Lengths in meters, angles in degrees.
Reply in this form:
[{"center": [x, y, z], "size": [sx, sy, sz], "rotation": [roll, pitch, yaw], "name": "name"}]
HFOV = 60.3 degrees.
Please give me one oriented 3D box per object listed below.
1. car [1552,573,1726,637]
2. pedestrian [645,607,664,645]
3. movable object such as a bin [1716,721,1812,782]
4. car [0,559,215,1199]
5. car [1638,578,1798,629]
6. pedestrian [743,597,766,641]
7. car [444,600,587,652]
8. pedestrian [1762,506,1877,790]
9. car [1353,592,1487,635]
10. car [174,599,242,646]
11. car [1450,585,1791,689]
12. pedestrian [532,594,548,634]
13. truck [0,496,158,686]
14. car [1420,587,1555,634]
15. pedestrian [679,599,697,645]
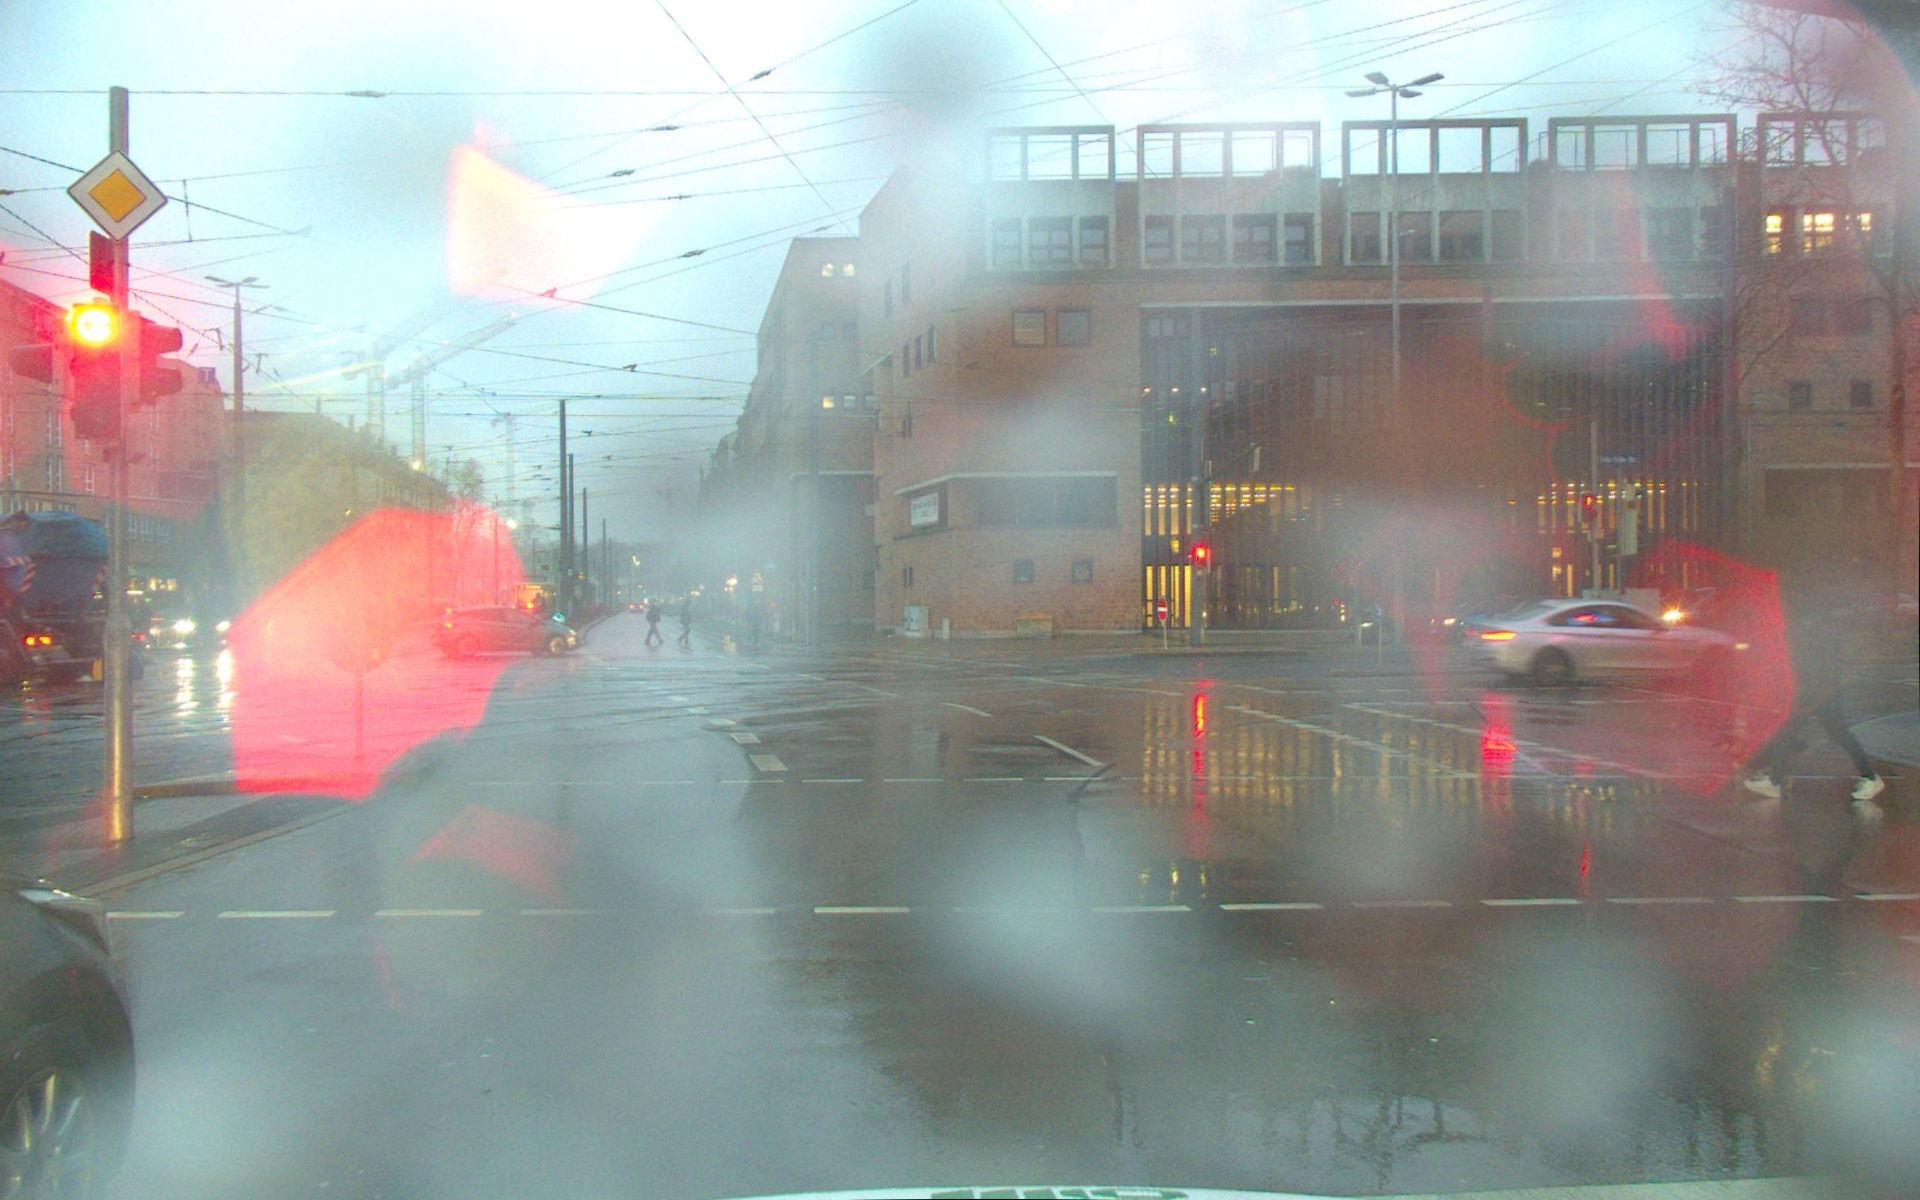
[{"center": [18.230, 0.104, 44.507], "size": [3.910, 1.530, 1.846], "rotation": [-1, 4, -7], "name": "car"}, {"center": [-12.188, 1.033, 65.979], "size": [0.687, 1.510, 0.574], "rotation": [-1, 0, -11], "name": "pedestrian"}, {"center": [6.718, 1.264, 13.829], "size": [0.664, 0.477, 0.312], "rotation": [0, -1, -7], "name": "movable object such as a bin"}, {"center": [-2.584, 0.679, 1.925], "size": [1.596, 1.550, 3.941], "rotation": [1, 0, 0], "name": "car"}, {"center": [22.350, 0.090, 48.862], "size": [3.910, 1.310, 1.846], "rotation": [-1, 4, -7], "name": "car"}, {"center": [-8.125, 0.749, 65.431], "size": [0.828, 1.717, 0.648], "rotation": [-1, 0, -11], "name": "pedestrian"}, {"center": [-13.075, 0.765, 48.657], "size": [3.929, 1.466, 1.704], "rotation": [1, 0, -21], "name": "car"}, {"center": [6.906, 0.381, 13.305], "size": [0.564, 2.223, 0.619], "rotation": [0, -1, -6], "name": "pedestrian"}, {"center": [15.540, 0.449, 55.965], "size": [3.909, 1.333, 1.998], "rotation": [-1, 0, -5], "name": "car"}, {"center": [-32.021, 0.928, 70.499], "size": [1.960, 1.893, 3.984], "rotation": [-1, 0, -15], "name": "car"}, {"center": [11.076, 0.600, 28.032], "size": [4.885, 1.635, 2.254], "rotation": [-1, 0, 0], "name": "car"}, {"center": [-18.778, 0.623, 73.961], "size": [0.681, 1.754, 0.762], "rotation": [-1, 0, -15], "name": "pedestrian"}, {"center": [-20.586, -0.162, 35.292], "size": [7.368, 3.697, 2.841], "rotation": [-1, 0, 33], "name": "truck"}, {"center": [16.605, 0.315, 52.154], "size": [3.649, 1.284, 1.846], "rotation": [-1, 4, -7], "name": "car"}, {"center": [-10.642, 0.851, 64.619], "size": [0.654, 1.755, 0.487], "rotation": [-1, 0, -11], "name": "pedestrian"}]
